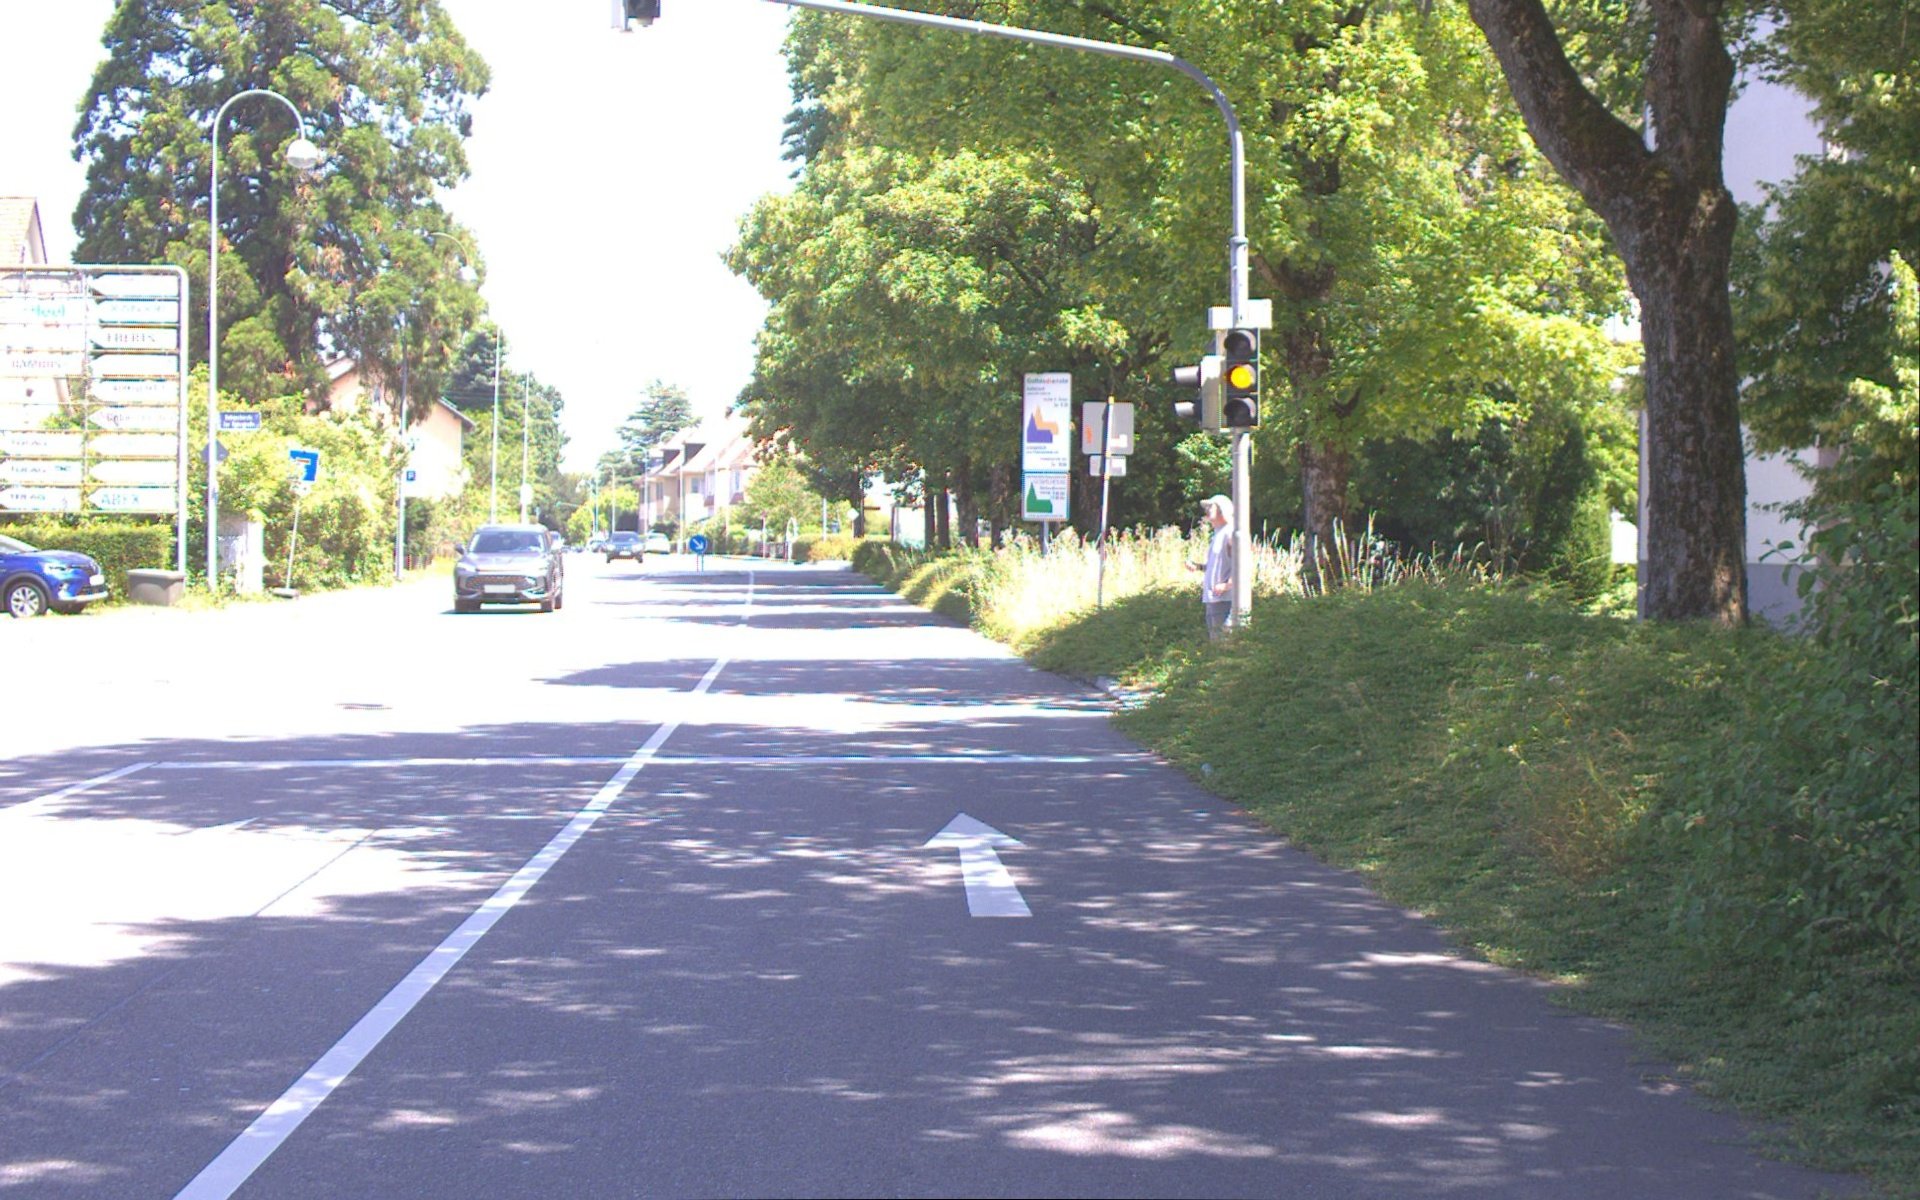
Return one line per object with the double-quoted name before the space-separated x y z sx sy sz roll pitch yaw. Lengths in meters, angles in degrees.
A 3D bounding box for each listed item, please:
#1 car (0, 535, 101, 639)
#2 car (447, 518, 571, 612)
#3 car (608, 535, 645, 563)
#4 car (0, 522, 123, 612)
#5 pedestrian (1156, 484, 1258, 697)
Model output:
"car" -14.870 -0.203 49.845 4.295 1.482 2.000 0 1 -30
"car" -8.534 -0.682 65.304 1.879 1.712 4.310 0 1 -1
"car" -15.714 -2.399 162.200 1.431 1.318 3.355 1 1 -1
"car" -15.562 -0.562 55.887 3.491 1.422 1.601 1 1 1
"pedestrian" 2.057 -0.085 28.626 0.560 1.745 0.615 0 1 -41
